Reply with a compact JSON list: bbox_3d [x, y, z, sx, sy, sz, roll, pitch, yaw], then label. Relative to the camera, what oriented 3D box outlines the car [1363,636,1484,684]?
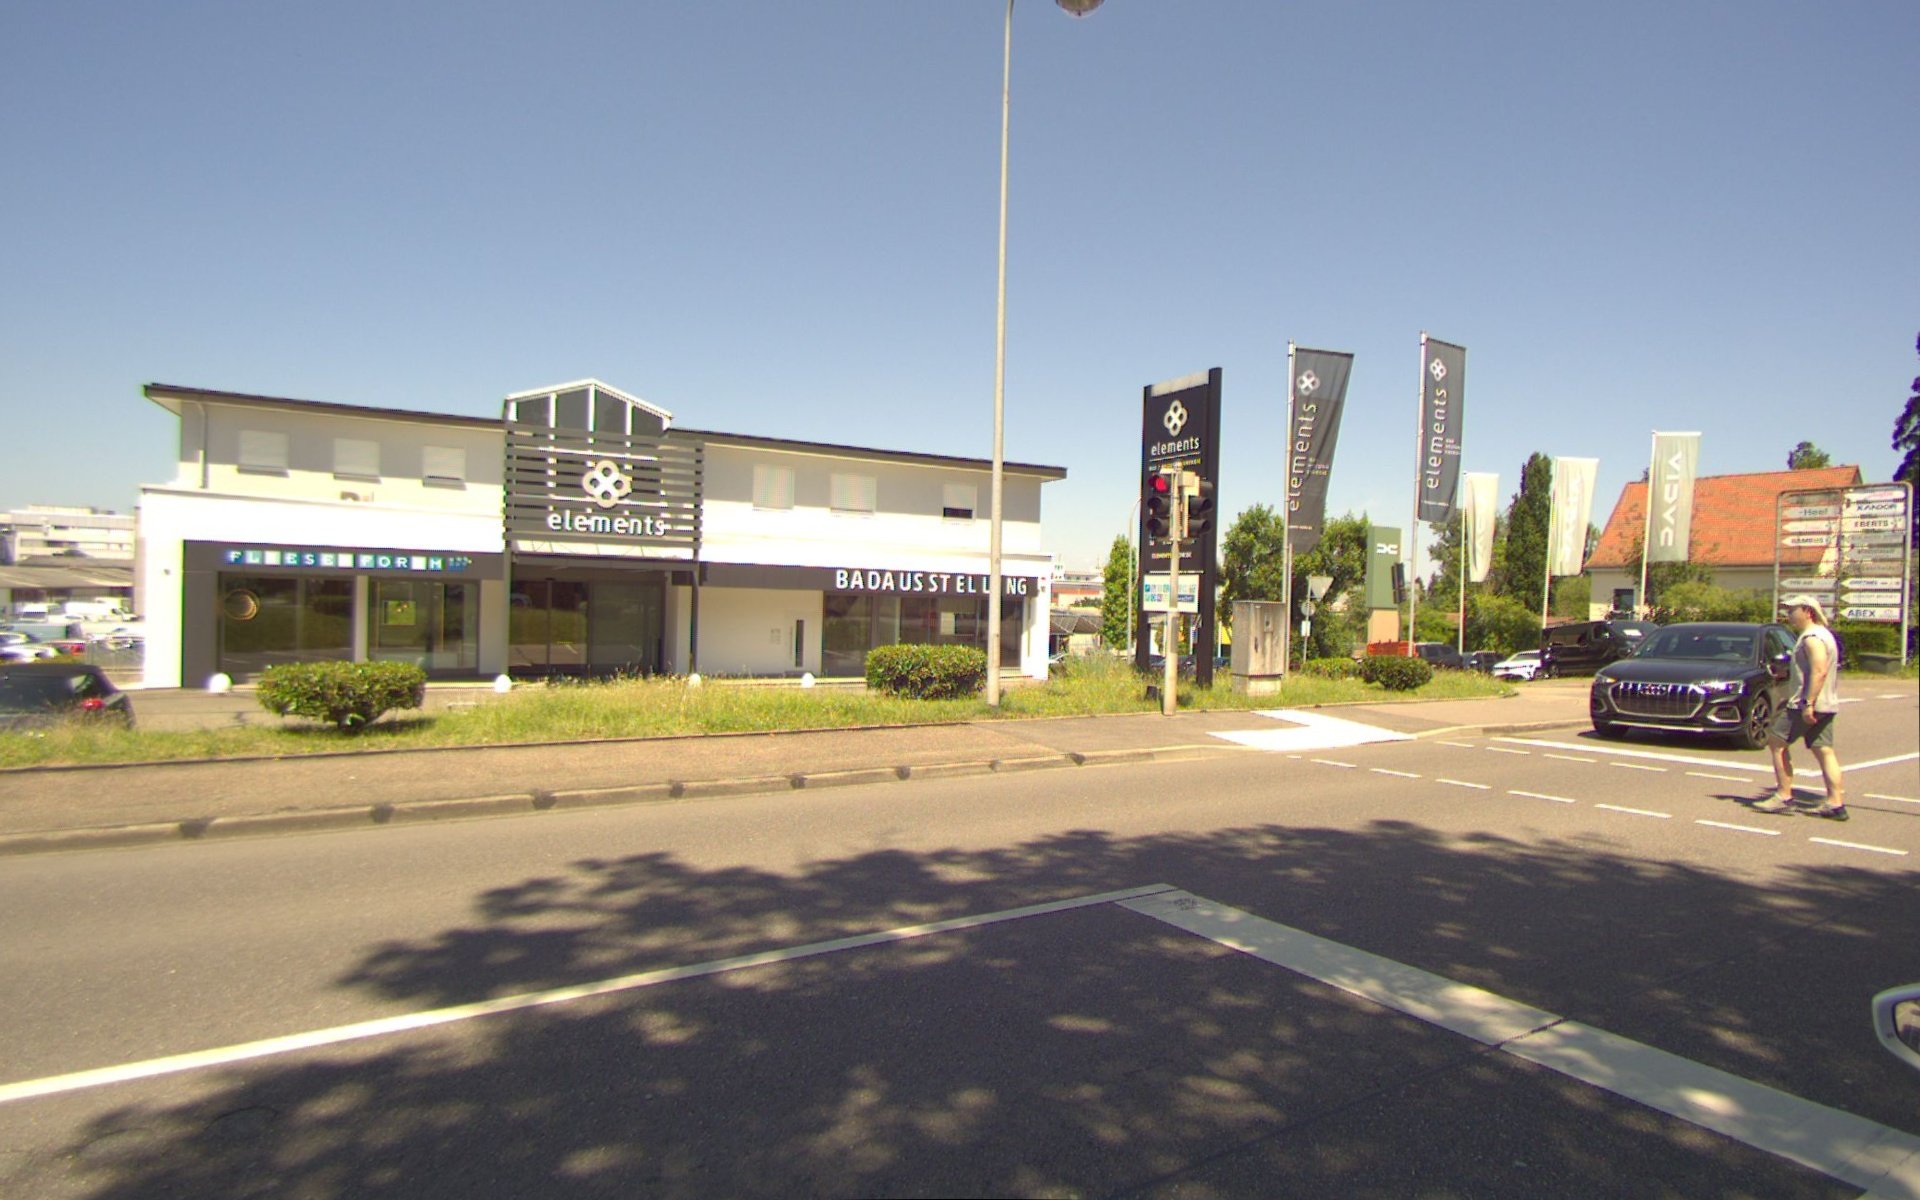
[{"bbox_3d":[17.871,2.307,38.748,4.022,1.744,1.809,2,-1,-16],"label":"car"}]

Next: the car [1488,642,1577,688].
[{"bbox_3d":[24.003,2.688,42.062,4.053,1.744,1.795,2,0,-38],"label":"car"}]

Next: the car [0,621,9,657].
[{"bbox_3d":[-49.201,1.906,48.974,3.726,1.778,1.719,2,-1,-28],"label":"car"}]

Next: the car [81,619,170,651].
[{"bbox_3d":[-49.402,2.080,59.551,3.726,1.778,1.719,2,-1,-28],"label":"car"}]

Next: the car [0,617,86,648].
[{"bbox_3d":[-54.806,1.918,59.847,3.726,1.778,1.719,2,-1,-28],"label":"car"}]

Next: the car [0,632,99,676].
[{"bbox_3d":[-39.724,2.298,43.217,3.726,1.778,1.719,2,-1,-28],"label":"car"}]

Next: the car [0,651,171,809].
[{"bbox_3d":[-11.689,1.508,12.673,1.746,1.553,4.076,1,-1,-24],"label":"car"}]

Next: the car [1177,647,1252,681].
[{"bbox_3d":[12.140,3.025,47.788,3.841,1.434,1.632,2,-1,-43],"label":"car"}]

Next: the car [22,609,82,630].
[{"bbox_3d":[-84.210,1.838,93.211,3.724,1.778,1.720,2,1,-26],"label":"car"}]

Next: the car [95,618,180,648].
[{"bbox_3d":[-50.556,2.056,61.816,3.726,1.778,1.719,2,-1,-28],"label":"car"}]

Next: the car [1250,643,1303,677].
[{"bbox_3d":[18.661,3.497,59.157,1.785,1.744,4.075,1,0,36],"label":"car"}]

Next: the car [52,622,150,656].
[{"bbox_3d":[-47.079,2.132,55.160,3.726,1.778,1.719,2,-1,-28],"label":"car"}]

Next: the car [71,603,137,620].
[{"bbox_3d":[-95.752,1.320,112.460,5.236,1.778,2.051,2,-1,-28],"label":"car"}]

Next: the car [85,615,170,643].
[{"bbox_3d":[-55.194,1.936,66.706,4.004,1.778,1.719,2,-1,-28],"label":"car"}]

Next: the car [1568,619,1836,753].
[{"bbox_3d":[10.487,1.101,14.103,4.263,1.576,1.912,2,-1,-37],"label":"car"}]

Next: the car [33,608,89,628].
[{"bbox_3d":[-87.962,1.755,98.324,3.726,1.778,1.719,1,3,-28],"label":"car"}]

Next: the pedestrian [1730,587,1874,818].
[{"bbox_3d":[6.754,0.801,8.074,0.689,1.785,0.545,1,0,-4],"label":"pedestrian"}]

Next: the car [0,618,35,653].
[{"bbox_3d":[-51.420,1.854,52.798,3.726,1.778,1.719,2,0,-28],"label":"car"}]

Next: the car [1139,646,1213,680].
[{"bbox_3d":[10.840,3.127,50.298,3.973,1.506,1.735,2,-1,-44],"label":"car"}]

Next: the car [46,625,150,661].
[{"bbox_3d":[-44.135,2.205,51.538,3.726,1.778,1.719,2,-1,-28],"label":"car"}]

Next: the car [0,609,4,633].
[{"bbox_3d":[-74.544,1.566,75.336,3.726,1.778,1.719,2,-1,-28],"label":"car"}]

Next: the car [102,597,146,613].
[{"bbox_3d":[-99.633,0.634,119.744,3.726,1.778,1.719,2,-1,-28],"label":"car"}]

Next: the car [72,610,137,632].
[{"bbox_3d":[-70.977,1.753,83.407,3.726,1.778,1.719,1,0,-28],"label":"car"}]

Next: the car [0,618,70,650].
[{"bbox_3d":[-53.355,1.945,57.153,3.726,1.778,1.719,2,-1,-28],"label":"car"}]

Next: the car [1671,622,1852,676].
[{"bbox_3d":[25.019,1.490,31.530,1.751,1.524,4.129,1,-1,-20],"label":"car"}]
